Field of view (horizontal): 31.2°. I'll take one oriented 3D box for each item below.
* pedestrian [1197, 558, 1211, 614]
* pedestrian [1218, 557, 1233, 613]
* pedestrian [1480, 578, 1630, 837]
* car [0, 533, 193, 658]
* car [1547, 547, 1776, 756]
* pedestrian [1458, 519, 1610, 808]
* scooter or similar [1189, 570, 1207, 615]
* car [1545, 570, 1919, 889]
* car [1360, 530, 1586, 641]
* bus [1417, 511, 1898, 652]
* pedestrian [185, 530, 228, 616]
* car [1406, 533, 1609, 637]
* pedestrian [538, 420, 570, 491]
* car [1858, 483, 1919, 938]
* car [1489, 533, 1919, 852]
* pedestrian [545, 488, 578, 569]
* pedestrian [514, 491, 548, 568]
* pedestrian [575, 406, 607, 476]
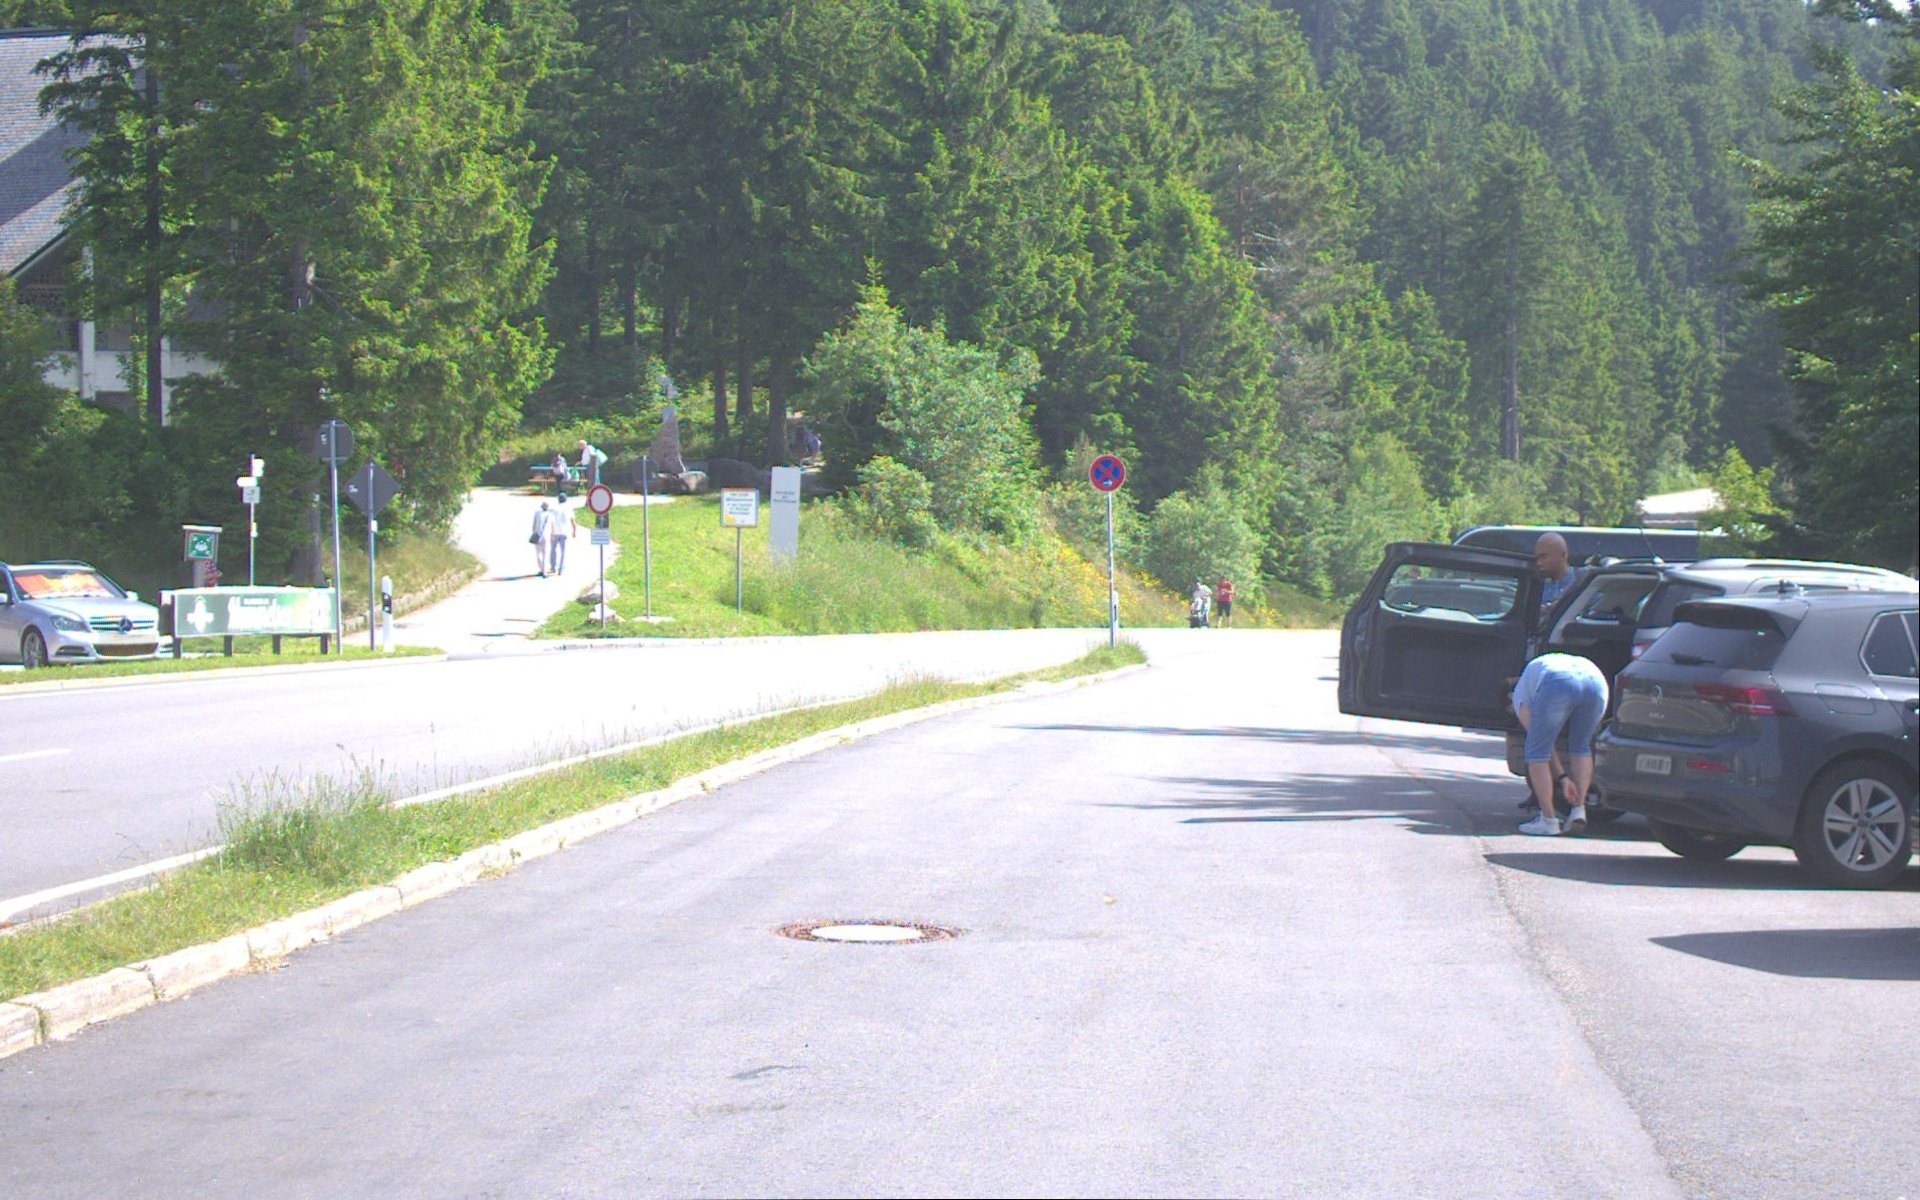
[{"bbox_3d":[7.654,-0.446,107.893,0.415,1.741,0.457,-1,2,7],"label":"pedestrian"},{"bbox_3d":[8.339,-0.463,108.063,0.395,1.741,0.406,-1,2,12],"label":"pedestrian"},{"bbox_3d":[3.329,0.590,19.206,0.774,1.398,0.669,-1,2,13],"label":"pedestrian"},{"bbox_3d":[-11.298,-0.072,42.840,1.739,1.436,3.969,-3,2,-40],"label":"car"},{"bbox_3d":[7.500,0.493,37.173,1.906,1.965,4.818,5,1,7],"label":"car"},{"bbox_3d":[3.585,0.391,21.490,0.578,1.754,0.633,3,0,-24],"label":"pedestrian"},{"bbox_3d":[7.427,-0.238,107.274,0.483,1.375,0.817,-1,2,7],"label":"scooter or similar"},{"bbox_3d":[5.243,0.673,17.544,3.985,1.438,1.840,2,1,-14],"label":"car"},{"bbox_3d":[9.524,-0.297,64.068,3.988,1.713,1.867,4,3,7],"label":"car"},{"bbox_3d":[19.511,-0.609,96.638,12.876,3.566,2.978,2,3,24],"label":"bus"},{"bbox_3d":[-13.687,-0.492,62.461,0.577,1.527,0.552,-1,2,7],"label":"pedestrian"},{"bbox_3d":[11.364,-0.331,71.395,3.989,1.808,1.939,4,3,9],"label":"car"},{"bbox_3d":[-11.684,-4.162,99.042,0.797,2.006,0.940,-1,2,-1],"label":"pedestrian"},{"bbox_3d":[6.408,0.570,14.207,4.756,1.873,1.967,3,1,-12],"label":"car"},{"bbox_3d":[5.482,0.606,20.586,3.985,1.656,2.001,5,0,-21],"label":"car"},{"bbox_3d":[-8.812,-1.581,76.075,0.652,1.793,0.643,0,1,0],"label":"pedestrian"},{"bbox_3d":[-9.400,-1.551,75.355,0.652,1.661,0.643,0,-1,1],"label":"pedestrian"},{"bbox_3d":[-10.732,-4.615,100.101,0.815,2.006,0.853,-1,2,-1],"label":"pedestrian"}]
